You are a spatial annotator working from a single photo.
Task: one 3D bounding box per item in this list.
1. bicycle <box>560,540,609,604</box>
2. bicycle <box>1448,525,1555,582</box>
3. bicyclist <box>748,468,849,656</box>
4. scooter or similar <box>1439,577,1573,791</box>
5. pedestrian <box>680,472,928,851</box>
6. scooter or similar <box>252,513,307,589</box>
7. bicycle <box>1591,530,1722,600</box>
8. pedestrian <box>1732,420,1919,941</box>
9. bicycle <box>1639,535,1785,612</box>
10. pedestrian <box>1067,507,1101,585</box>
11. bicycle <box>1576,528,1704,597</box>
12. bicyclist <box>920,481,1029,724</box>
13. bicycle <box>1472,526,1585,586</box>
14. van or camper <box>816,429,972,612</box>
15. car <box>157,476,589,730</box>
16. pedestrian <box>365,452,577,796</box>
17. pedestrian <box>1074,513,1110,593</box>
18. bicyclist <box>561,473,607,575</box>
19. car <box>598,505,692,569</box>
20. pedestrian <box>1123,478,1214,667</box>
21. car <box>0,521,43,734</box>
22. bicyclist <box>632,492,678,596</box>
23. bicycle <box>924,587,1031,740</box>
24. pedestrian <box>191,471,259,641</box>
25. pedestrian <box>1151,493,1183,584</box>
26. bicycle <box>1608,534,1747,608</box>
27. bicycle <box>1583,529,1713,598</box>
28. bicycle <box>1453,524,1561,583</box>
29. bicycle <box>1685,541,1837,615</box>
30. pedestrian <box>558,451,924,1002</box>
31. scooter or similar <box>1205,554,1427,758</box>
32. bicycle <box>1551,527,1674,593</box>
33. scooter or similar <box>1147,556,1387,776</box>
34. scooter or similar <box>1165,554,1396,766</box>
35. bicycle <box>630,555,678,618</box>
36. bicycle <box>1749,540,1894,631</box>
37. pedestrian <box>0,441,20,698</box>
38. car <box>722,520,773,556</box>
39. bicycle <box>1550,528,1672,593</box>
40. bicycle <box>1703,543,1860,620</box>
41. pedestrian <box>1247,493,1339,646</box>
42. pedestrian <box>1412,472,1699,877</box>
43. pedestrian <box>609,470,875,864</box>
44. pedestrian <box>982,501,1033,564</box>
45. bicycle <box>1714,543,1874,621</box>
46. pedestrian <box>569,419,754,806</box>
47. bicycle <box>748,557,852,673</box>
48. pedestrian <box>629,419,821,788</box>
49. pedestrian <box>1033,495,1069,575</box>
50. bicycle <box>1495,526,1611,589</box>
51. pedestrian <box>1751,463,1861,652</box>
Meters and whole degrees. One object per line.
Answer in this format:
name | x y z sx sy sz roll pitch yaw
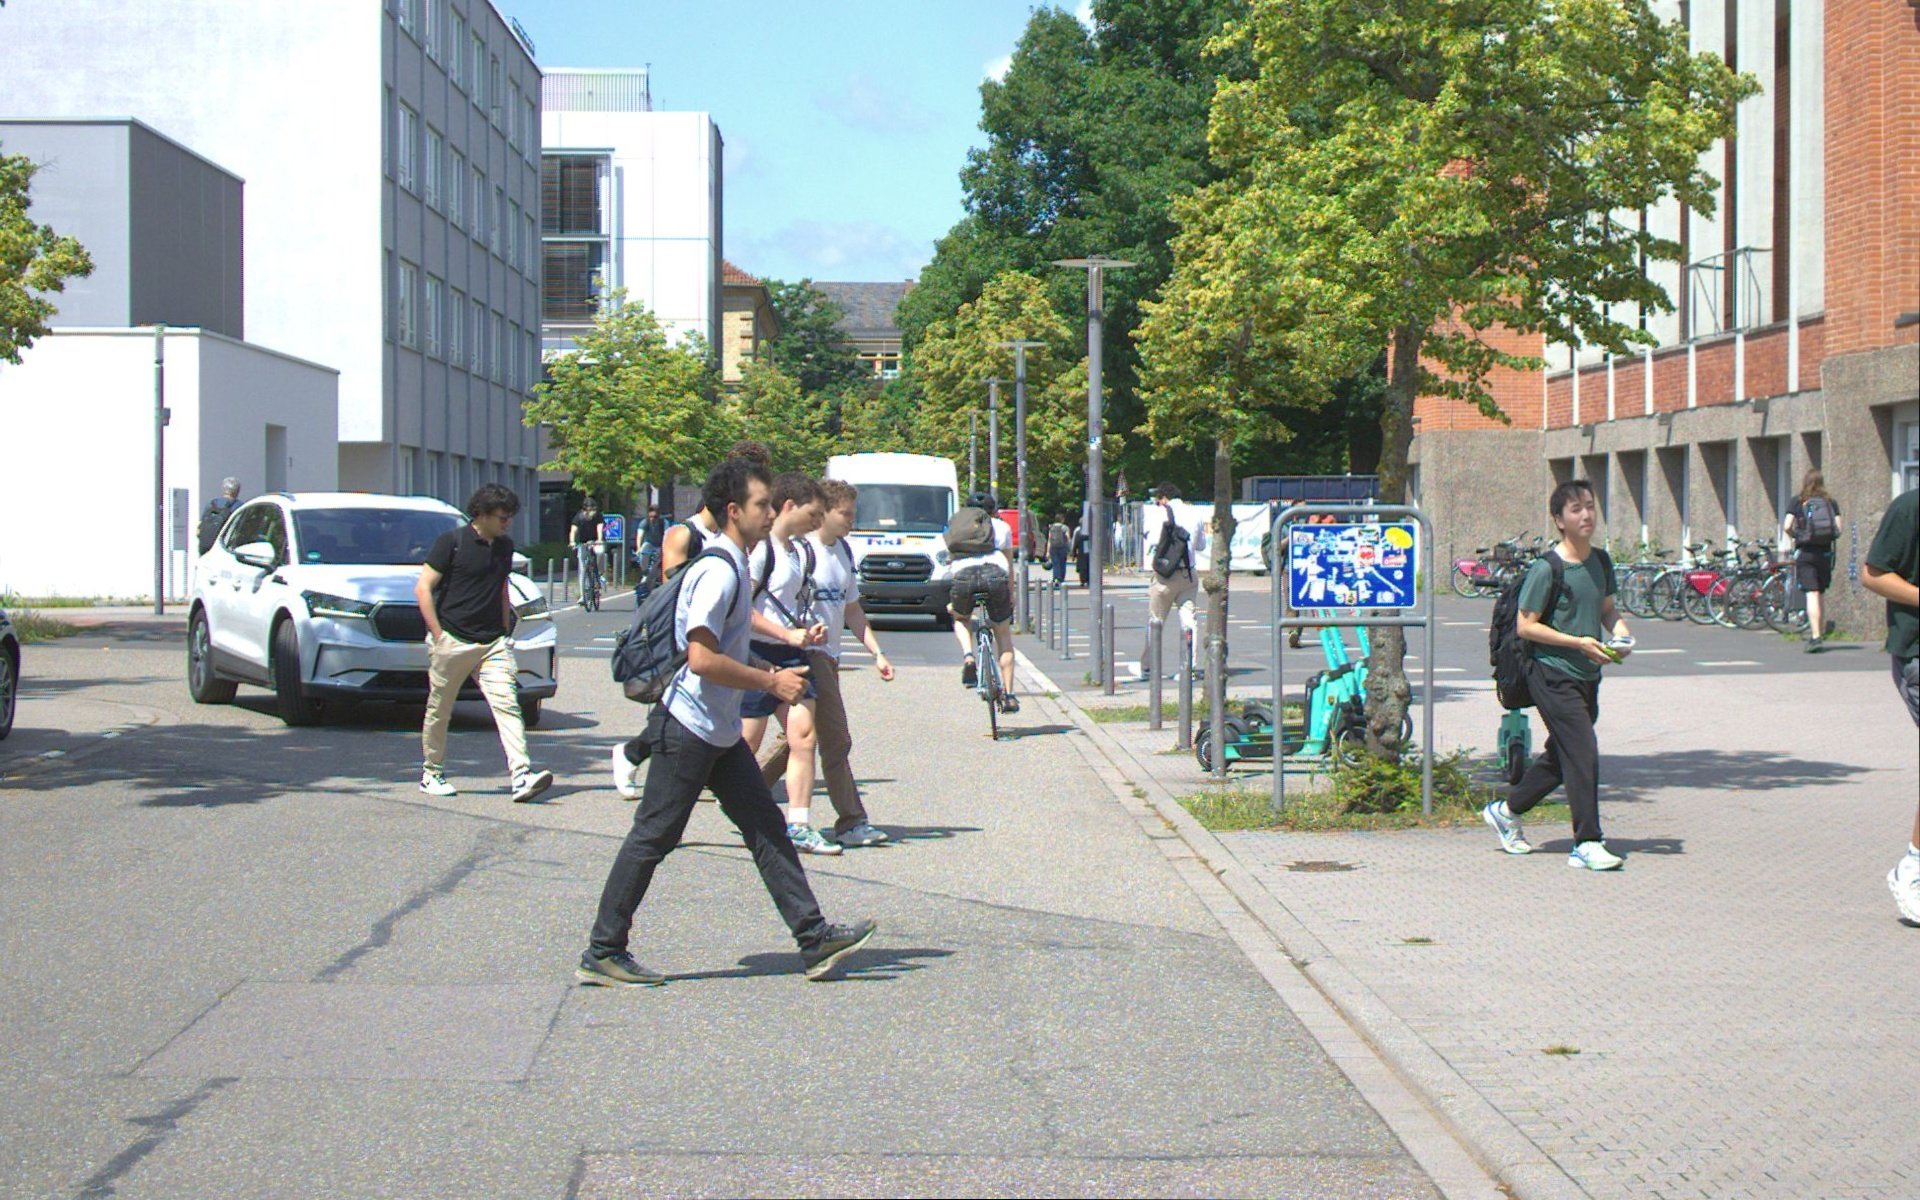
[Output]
bicycle | -5.921 -0.452 54.279 0.677 0.961 2.003 1 1 -3
bicycle | 9.768 -0.848 62.046 1.809 0.981 0.560 -1 1 -2
bicyclist | -1.578 -0.375 33.472 0.771 1.750 0.848 -5 2 -7
scooter or similar | 3.142 0.459 19.711 0.649 1.156 1.264 0 1 14
pedestrian | -0.742 0.274 16.321 0.908 1.733 0.677 2 1 37
scooter or similar | -11.066 -0.805 55.899 0.378 1.212 1.204 0 1 15
bicycle | 10.306 -0.527 50.909 1.809 0.981 0.560 -1 1 -2
pedestrian | 3.577 0.273 12.744 0.852 1.853 1.116 -1 2 -33
bicycle | 10.087 -0.362 46.152 1.809 0.981 0.560 -1 1 -2
pedestrian | 2.994 -1.314 83.083 0.790 1.853 1.026 0 1 0
bicycle | 10.307 -0.569 52.110 1.809 0.981 0.560 -1 1 -2
bicyclist | 0.111 0.008 24.153 0.717 1.656 1.095 -1 1 2
bicycle | 9.711 -0.753 58.745 1.809 0.981 0.560 -1 1 -2
van or camper | -0.881 -1.101 48.667 1.993 2.437 4.569 -1 1 1
car | -4.376 -0.029 25.028 1.917 1.613 4.522 3 0 -25
pedestrian | -2.590 0.103 18.260 0.802 1.766 0.853 1 2 21
pedestrian | 3.082 -1.101 80.101 0.790 1.853 1.026 0 1 0
bicyclist | -5.941 -1.202 54.316 0.643 1.596 0.909 -1 1 -3
car | -7.793 -1.580 85.359 1.795 1.525 4.000 0 2 3
pedestrian | 1.923 -0.267 31.763 0.702 1.689 0.962 -3 2 -1
car | -6.674 0.201 19.984 1.645 1.296 3.928 0 2 0
bicyclist | -4.973 -0.920 56.076 0.667 1.676 0.993 -1 1 -3
bicycle | 0.140 0.426 24.237 0.706 0.990 1.911 1 1 1
pedestrian | -7.844 -0.462 36.673 0.666 1.779 0.985 0 0 -14
pedestrian | 4.229 -1.254 70.176 0.576 1.853 0.570 0 1 -3
bicycle | 10.039 -0.414 48.113 1.809 0.981 0.560 -1 1 -2
bicycle | 10.307 -0.544 51.497 1.809 0.981 0.560 -1 1 -2
bicycle | 9.720 -0.829 61.082 1.809 0.981 0.560 -1 1 -2
bicycle | 10.358 -0.289 44.484 1.809 0.909 0.560 -1 1 -2
pedestrian | -0.722 0.393 11.176 1.105 1.710 0.710 2 2 -6
scooter or similar | 2.285 0.341 22.062 1.263 1.260 0.638 1 2 31
bicycle | 10.232 -0.623 53.943 1.809 0.981 0.560 -1 1 -2
scooter or similar | 1.826 0.374 20.468 1.263 1.260 0.649 1 2 31
scooter or similar | 1.980 0.351 21.244 1.263 1.260 0.649 1 2 31
bicycle | -4.970 -0.226 55.893 0.677 0.961 2.003 2 1 -3
bicycle | 10.067 -0.176 40.197 1.535 1.029 0.560 -1 1 -2
pedestrian | -7.740 -0.242 25.594 1.015 1.897 1.178 2 0 -37
car | -9.370 -2.749 151.690 1.795 1.525 4.000 0 2 3
bicycle | 10.353 -0.639 54.727 1.809 0.981 0.560 -1 1 -2
bicycle | 10.266 -0.232 42.990 1.809 0.909 0.560 -1 1 -2
pedestrian | 3.805 -0.359 39.336 0.853 1.727 1.161 0 1 -5
pedestrian | 2.636 0.305 15.243 0.702 1.714 0.993 -4 3 -44
pedestrian | -0.993 0.279 15.662 0.982 1.733 0.699 1 2 36
pedestrian | 1.586 -2.263 114.734 1.499 1.989 1.647 -3 2 -3
bicycle | 10.210 -0.220 42.133 1.809 0.909 0.560 -1 1 -2
pedestrian | -1.571 0.060 18.028 0.616 1.973 0.829 -1 0 -32
bicycle | -1.590 0.130 33.810 0.808 0.998 2.124 -2 3 -8
pedestrian | -1.286 0.000 18.851 0.827 1.973 0.691 1 2 21
pedestrian | 2.126 -1.534 80.401 0.790 1.853 1.243 0 1 0
bicycle | 9.857 -0.710 57.213 1.809 0.981 0.560 -1 1 -2
pedestrian | 8.434 -0.431 34.303 0.790 1.853 1.116 0 1 -2
